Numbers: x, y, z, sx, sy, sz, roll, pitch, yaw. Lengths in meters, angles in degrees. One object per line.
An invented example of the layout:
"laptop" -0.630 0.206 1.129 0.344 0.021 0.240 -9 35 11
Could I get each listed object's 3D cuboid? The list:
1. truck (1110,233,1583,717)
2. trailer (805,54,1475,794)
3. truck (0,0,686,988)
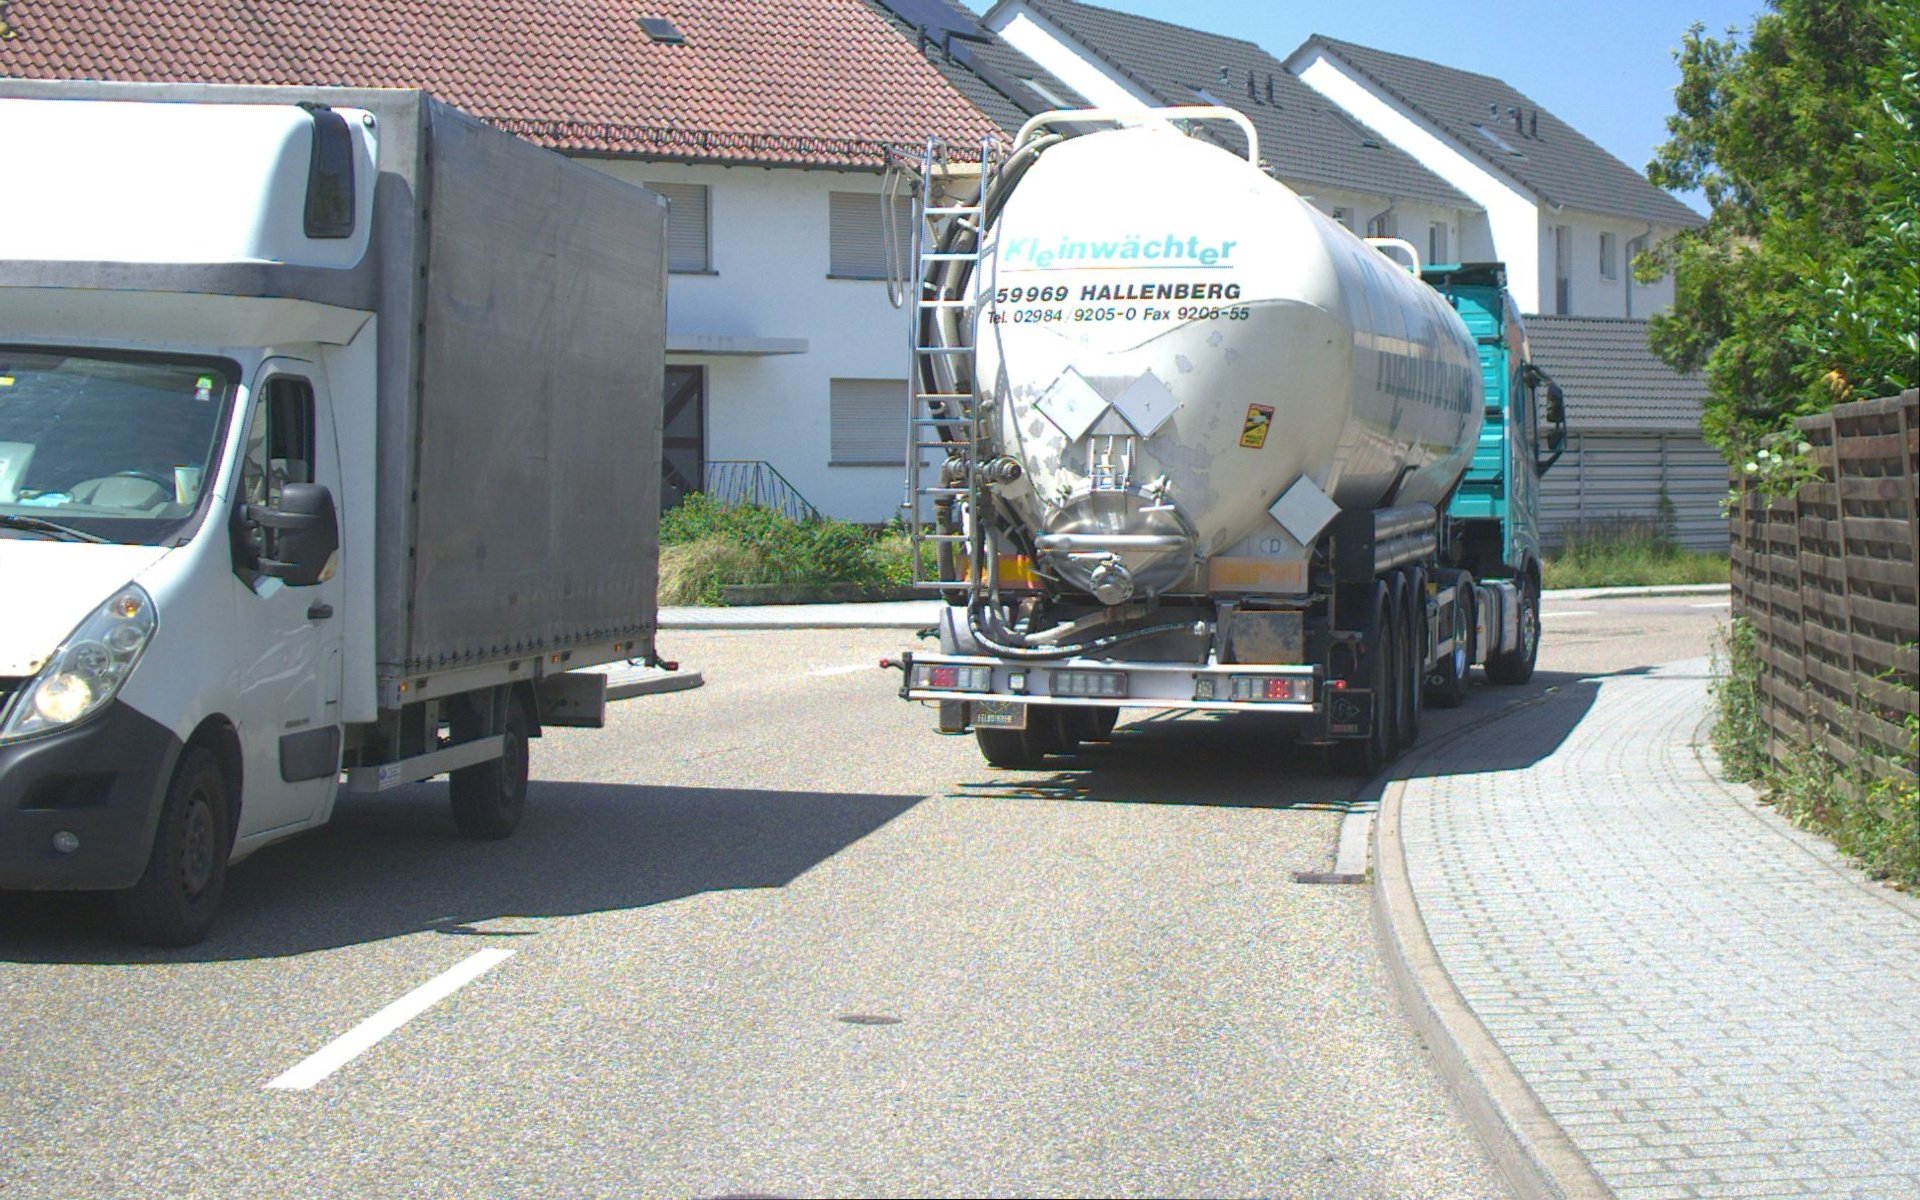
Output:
"truck" 3.740 -1.150 31.965 2.990 3.951 5.574 -3 1 19
"trailer" 1.798 -1.149 24.298 2.954 3.934 11.614 0 2 12
"truck" -3.180 -0.594 14.817 2.467 3.355 7.615 3 2 6
